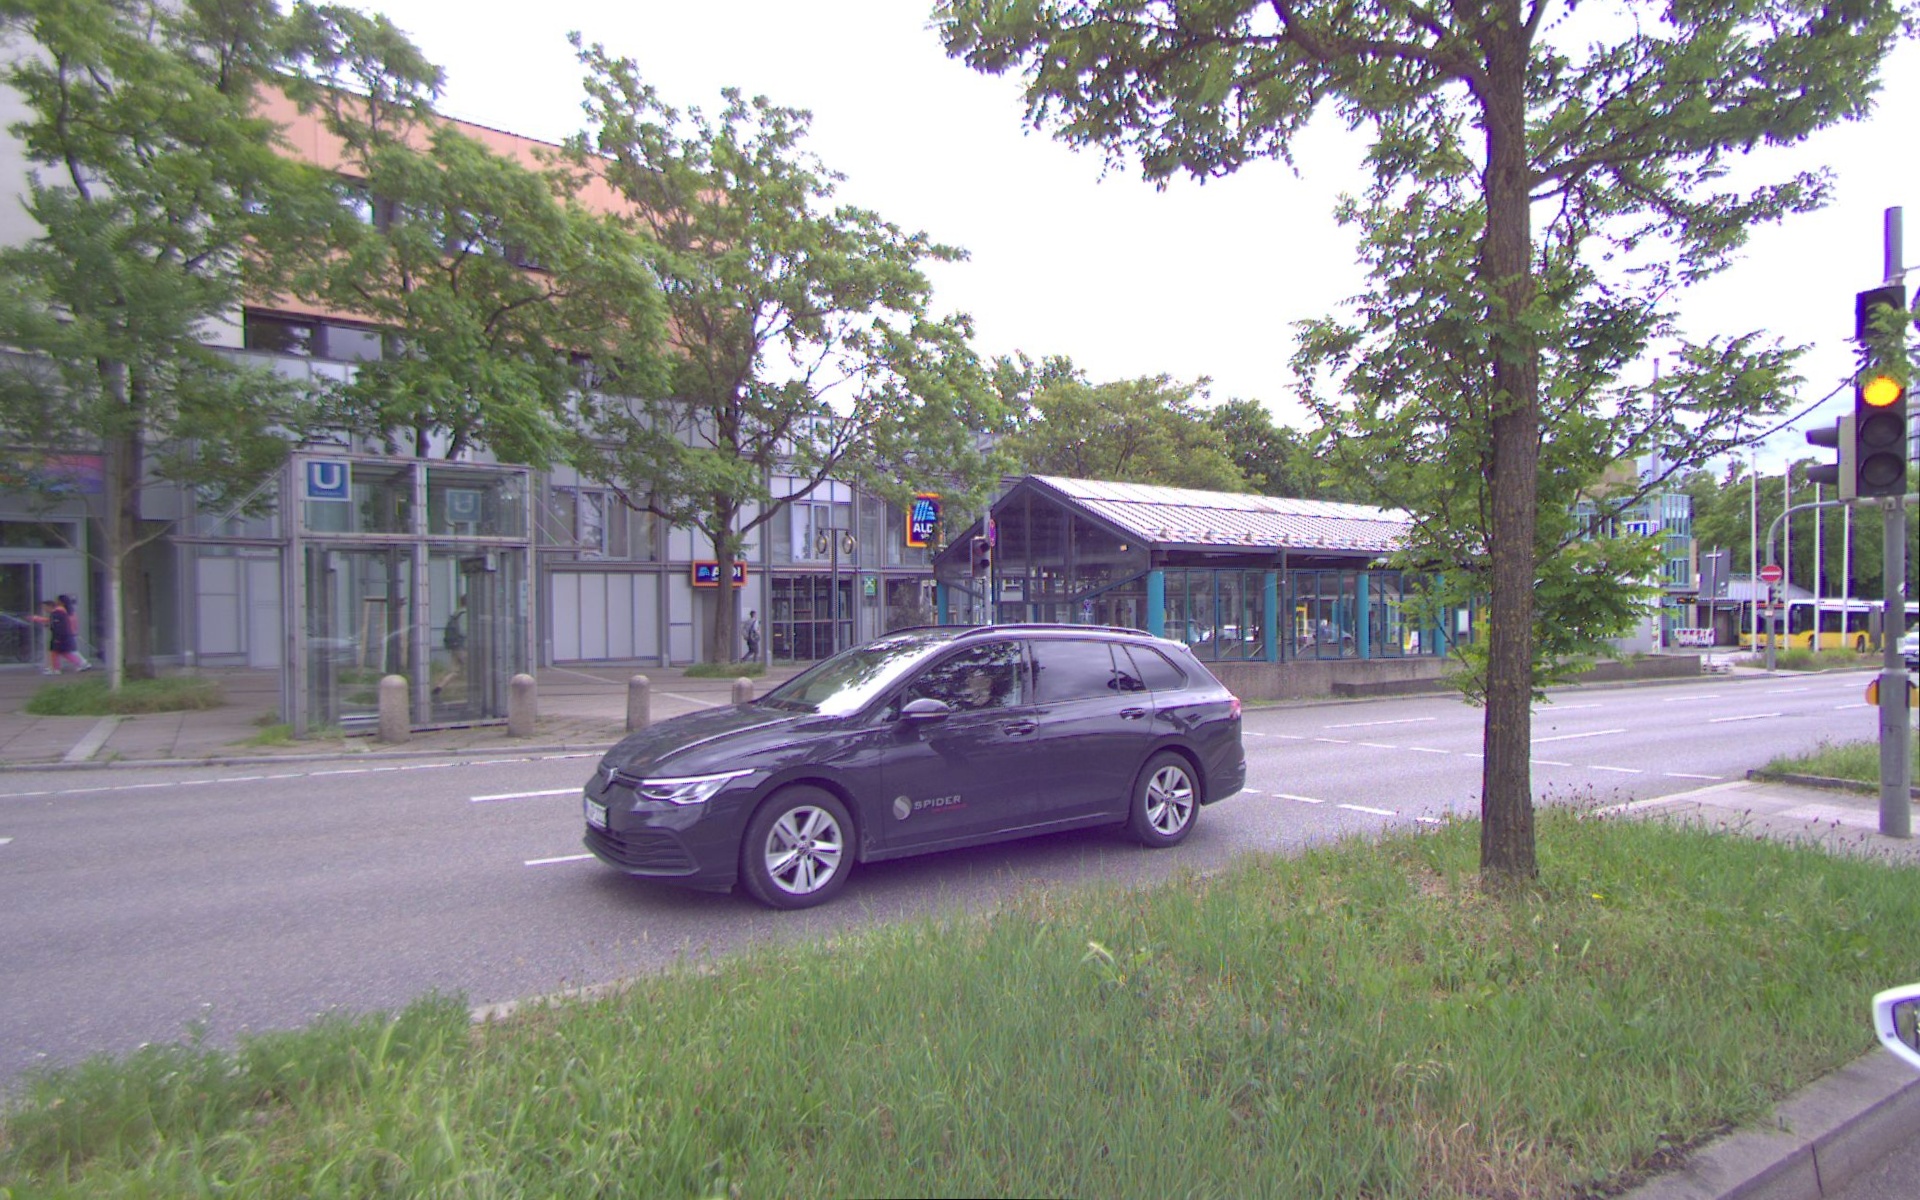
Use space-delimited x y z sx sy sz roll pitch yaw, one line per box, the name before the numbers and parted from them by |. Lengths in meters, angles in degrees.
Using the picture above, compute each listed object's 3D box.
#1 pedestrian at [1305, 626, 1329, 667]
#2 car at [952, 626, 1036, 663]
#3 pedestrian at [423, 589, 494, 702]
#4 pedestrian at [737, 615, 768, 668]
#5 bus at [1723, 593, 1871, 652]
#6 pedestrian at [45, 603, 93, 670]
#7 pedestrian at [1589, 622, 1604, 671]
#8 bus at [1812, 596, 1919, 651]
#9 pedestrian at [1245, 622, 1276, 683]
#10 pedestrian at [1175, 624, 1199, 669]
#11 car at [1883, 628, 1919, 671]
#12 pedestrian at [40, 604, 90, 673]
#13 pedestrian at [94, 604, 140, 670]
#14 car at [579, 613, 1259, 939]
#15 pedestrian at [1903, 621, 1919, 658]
pedestrian | 14.338 1.860 40.358 0.654 1.591 0.631 2 0 -31
car | 1.659 2.190 50.377 1.769 1.710 4.838 1 -1 -33
pedestrian | -8.496 0.765 17.028 0.530 1.857 0.916 0 -1 44
pedestrian | -6.047 1.205 29.272 0.748 1.499 0.525 1 -1 -36
bus | 49.931 1.376 59.828 10.036 3.293 2.980 1 -1 -26
pedestrian | -18.782 0.770 21.187 0.689 1.393 0.578 1 -1 -37
pedestrian | 20.974 1.523 33.102 0.412 1.612 0.356 0 -1 31
bus | 57.928 1.537 63.769 7.771 3.313 2.980 1 -1 -26
pedestrian | 8.855 1.532 29.602 0.748 1.786 0.525 1 -1 -35
pedestrian | 8.574 1.749 37.945 0.703 1.677 0.517 1 -1 -37
car | 37.558 1.910 39.167 3.316 1.599 1.673 1 -1 -36
pedestrian | -18.280 0.782 20.535 0.689 1.393 0.578 1 -1 -37
pedestrian | -18.085 0.793 21.553 0.689 1.393 0.578 1 -1 -37
car | -0.100 0.860 6.618 4.244 1.500 1.699 0 -2 -35
pedestrian | 50.194 2.091 52.873 0.677 1.922 0.658 1 -1 -28
